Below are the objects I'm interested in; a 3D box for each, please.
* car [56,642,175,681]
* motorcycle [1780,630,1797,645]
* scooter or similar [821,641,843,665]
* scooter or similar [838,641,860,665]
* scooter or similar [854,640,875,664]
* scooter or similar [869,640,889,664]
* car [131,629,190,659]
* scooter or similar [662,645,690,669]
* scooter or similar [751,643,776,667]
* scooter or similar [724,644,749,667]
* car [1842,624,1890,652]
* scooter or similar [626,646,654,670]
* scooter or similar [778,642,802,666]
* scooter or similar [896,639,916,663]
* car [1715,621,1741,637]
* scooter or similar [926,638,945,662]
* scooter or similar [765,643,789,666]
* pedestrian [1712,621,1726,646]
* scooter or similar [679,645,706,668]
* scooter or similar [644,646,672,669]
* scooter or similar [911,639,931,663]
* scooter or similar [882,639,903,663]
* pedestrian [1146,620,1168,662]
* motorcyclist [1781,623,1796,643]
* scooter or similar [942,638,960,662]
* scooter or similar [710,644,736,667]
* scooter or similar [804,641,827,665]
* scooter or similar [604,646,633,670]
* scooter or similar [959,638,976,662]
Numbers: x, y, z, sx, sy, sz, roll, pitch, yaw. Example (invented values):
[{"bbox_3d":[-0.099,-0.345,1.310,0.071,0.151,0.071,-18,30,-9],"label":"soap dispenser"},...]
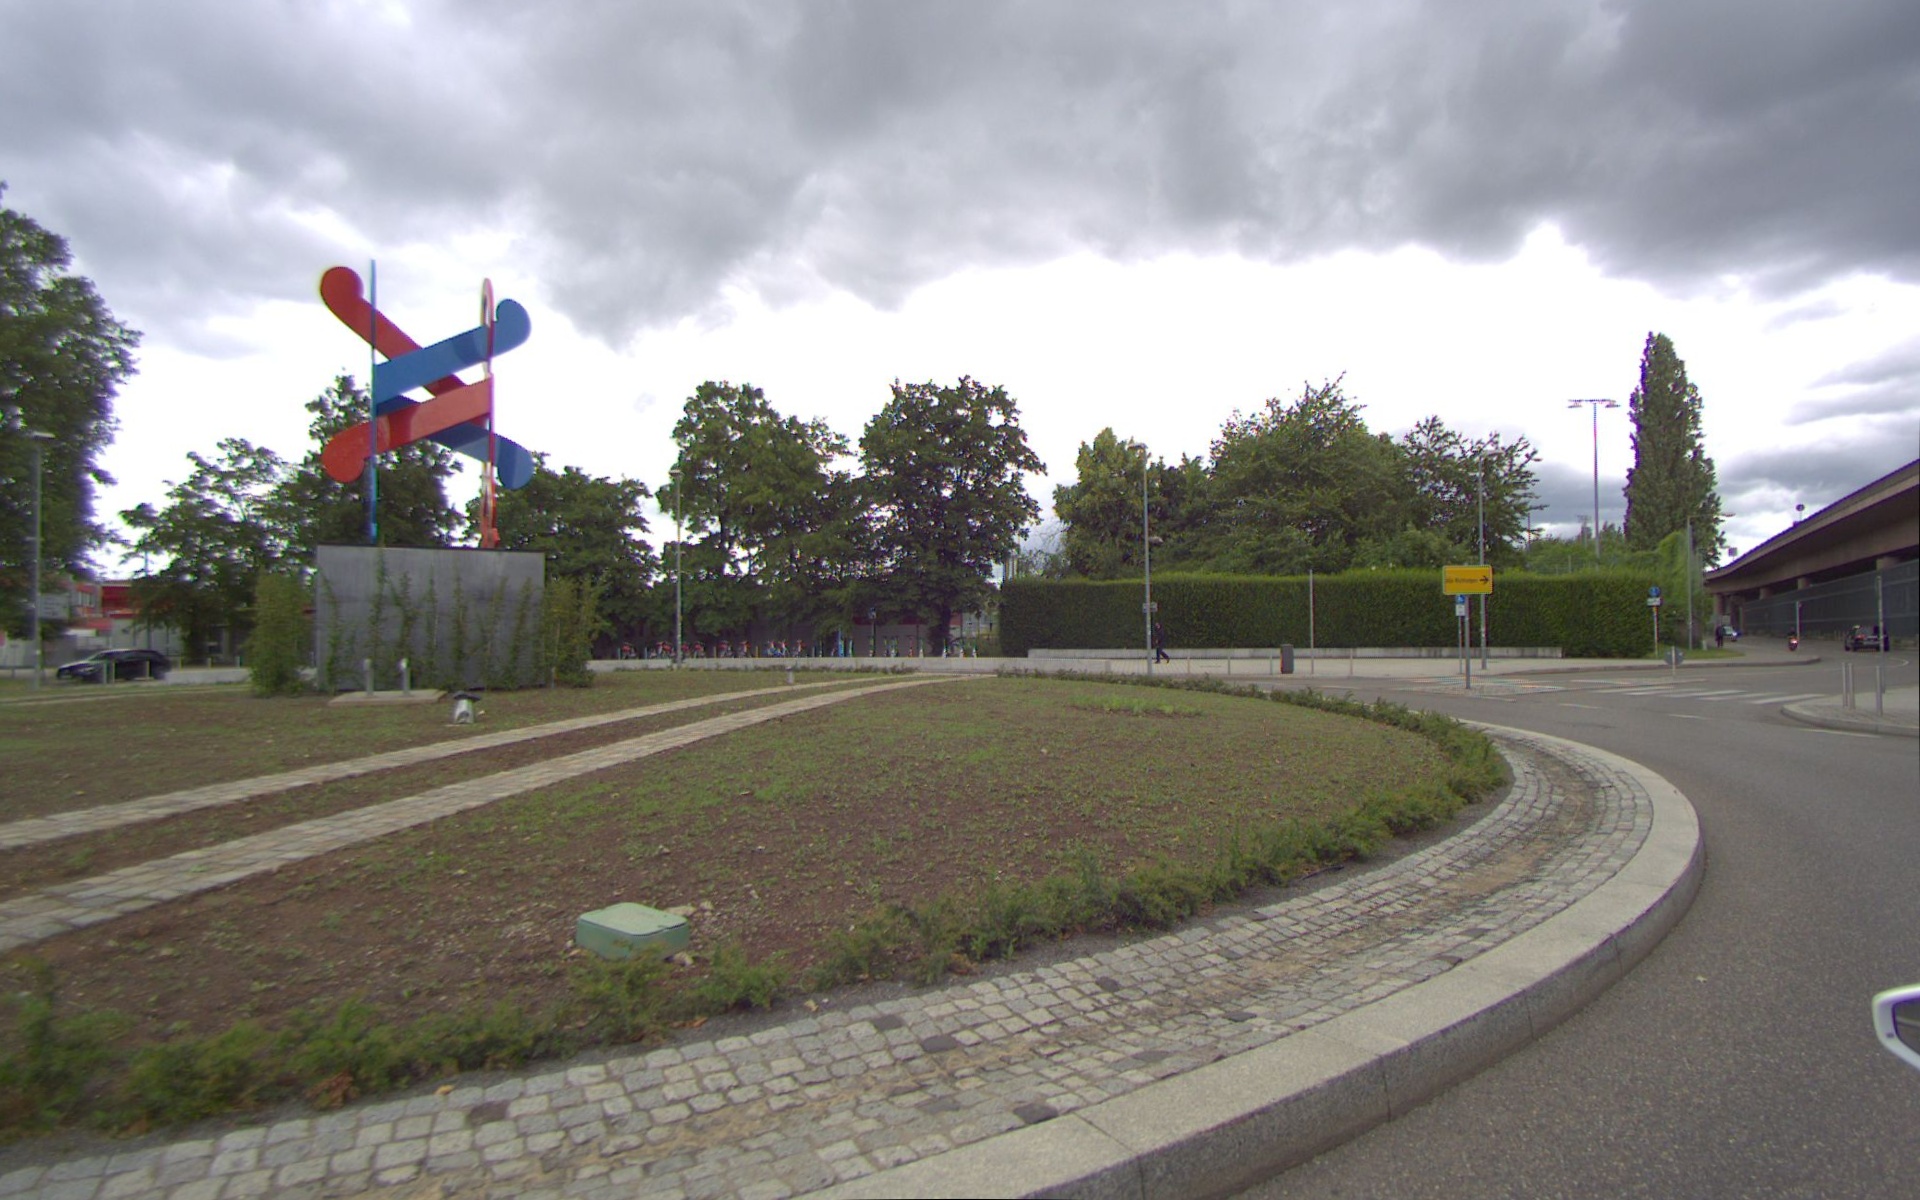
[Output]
[{"bbox_3d":[-37.404,2.693,44.618,1.743,1.545,3.828,-2,-1,8],"label":"car"},{"bbox_3d":[60.744,2.720,73.639,0.736,1.036,1.950,-2,-1,35],"label":"motorcycle"},{"bbox_3d":[-6.433,2.679,50.659,0.627,1.124,1.977,-2,-1,7],"label":"scooter or similar"},{"bbox_3d":[-5.585,2.642,50.563,0.627,1.124,1.977,-2,-1,7],"label":"scooter or similar"},{"bbox_3d":[-4.799,2.618,50.459,0.627,1.124,1.977,-2,-1,7],"label":"scooter or similar"},{"bbox_3d":[-4.055,2.601,50.340,0.627,1.124,1.977,-2,-1,7],"label":"scooter or similar"},{"bbox_3d":[-47.623,2.649,59.818,4.368,1.673,1.789,-3,-1,38],"label":"car"},{"bbox_3d":[-14.620,2.922,51.739,0.627,1.124,1.977,-2,-1,7],"label":"scooter or similar"},{"bbox_3d":[-9.971,2.774,51.077,0.627,1.124,1.977,-2,-1,7],"label":"scooter or similar"},{"bbox_3d":[-11.388,2.826,51.256,0.627,1.124,1.977,-2,-1,7],"label":"scooter or similar"},{"bbox_3d":[60.403,2.490,67.003,1.815,1.734,3.694,-2,-1,34],"label":"car"},{"bbox_3d":[-16.569,2.994,52.058,0.627,1.124,1.977,-2,-1,7],"label":"scooter or similar"},{"bbox_3d":[-8.587,2.721,50.921,0.627,1.124,1.977,-2,-1,7],"label":"scooter or similar"},{"bbox_3d":[-2.678,2.558,50.204,0.627,1.124,1.977,-2,-1,7],"label":"scooter or similar"},{"bbox_3d":[89.441,3.364,117.003,1.838,1.706,4.395,-2,-1,31],"label":"car"},{"bbox_3d":[-1.217,2.503,50.059,0.627,1.124,1.977,-2,-1,7],"label":"scooter or similar"},{"bbox_3d":[-9.278,2.759,51.000,0.627,1.124,1.977,-2,-1,7],"label":"scooter or similar"},{"bbox_3d":[56.522,2.502,74.798,0.793,1.804,0.917,-2,-1,36],"label":"pedestrian"},{"bbox_3d":[-13.757,2.895,51.614,0.627,1.124,1.977,-2,-1,7],"label":"scooter or similar"},{"bbox_3d":[-15.621,2.956,51.950,0.627,1.124,1.977,-2,-1,7],"label":"scooter or similar"},{"bbox_3d":[-1.935,2.520,50.112,0.627,1.124,1.977,-2,-1,7],"label":"scooter or similar"},{"bbox_3d":[-3.363,2.557,50.274,0.627,1.124,1.977,-2,-1,7],"label":"scooter or similar"},{"bbox_3d":[8.836,1.845,45.085,0.848,1.831,0.793,-2,-1,16],"label":"pedestrian"},{"bbox_3d":[60.696,2.445,73.583,0.751,1.438,0.867,-2,-1,35],"label":"motorcyclist"},{"bbox_3d":[-0.435,2.477,49.971,0.627,1.124,1.977,-2,-1,7],"label":"scooter or similar"},{"bbox_3d":[-12.091,2.830,51.320,0.627,1.124,1.977,-2,-1,7],"label":"scooter or similar"},{"bbox_3d":[-7.270,2.688,50.739,0.627,1.124,1.977,-2,-1,7],"label":"scooter or similar"},{"bbox_3d":[-17.810,3.022,52.483,0.627,1.124,1.977,-2,-1,7],"label":"scooter or similar"},{"bbox_3d":[0.386,2.472,49.864,0.627,1.124,1.977,-2,-1,7],"label":"scooter or similar"}]
